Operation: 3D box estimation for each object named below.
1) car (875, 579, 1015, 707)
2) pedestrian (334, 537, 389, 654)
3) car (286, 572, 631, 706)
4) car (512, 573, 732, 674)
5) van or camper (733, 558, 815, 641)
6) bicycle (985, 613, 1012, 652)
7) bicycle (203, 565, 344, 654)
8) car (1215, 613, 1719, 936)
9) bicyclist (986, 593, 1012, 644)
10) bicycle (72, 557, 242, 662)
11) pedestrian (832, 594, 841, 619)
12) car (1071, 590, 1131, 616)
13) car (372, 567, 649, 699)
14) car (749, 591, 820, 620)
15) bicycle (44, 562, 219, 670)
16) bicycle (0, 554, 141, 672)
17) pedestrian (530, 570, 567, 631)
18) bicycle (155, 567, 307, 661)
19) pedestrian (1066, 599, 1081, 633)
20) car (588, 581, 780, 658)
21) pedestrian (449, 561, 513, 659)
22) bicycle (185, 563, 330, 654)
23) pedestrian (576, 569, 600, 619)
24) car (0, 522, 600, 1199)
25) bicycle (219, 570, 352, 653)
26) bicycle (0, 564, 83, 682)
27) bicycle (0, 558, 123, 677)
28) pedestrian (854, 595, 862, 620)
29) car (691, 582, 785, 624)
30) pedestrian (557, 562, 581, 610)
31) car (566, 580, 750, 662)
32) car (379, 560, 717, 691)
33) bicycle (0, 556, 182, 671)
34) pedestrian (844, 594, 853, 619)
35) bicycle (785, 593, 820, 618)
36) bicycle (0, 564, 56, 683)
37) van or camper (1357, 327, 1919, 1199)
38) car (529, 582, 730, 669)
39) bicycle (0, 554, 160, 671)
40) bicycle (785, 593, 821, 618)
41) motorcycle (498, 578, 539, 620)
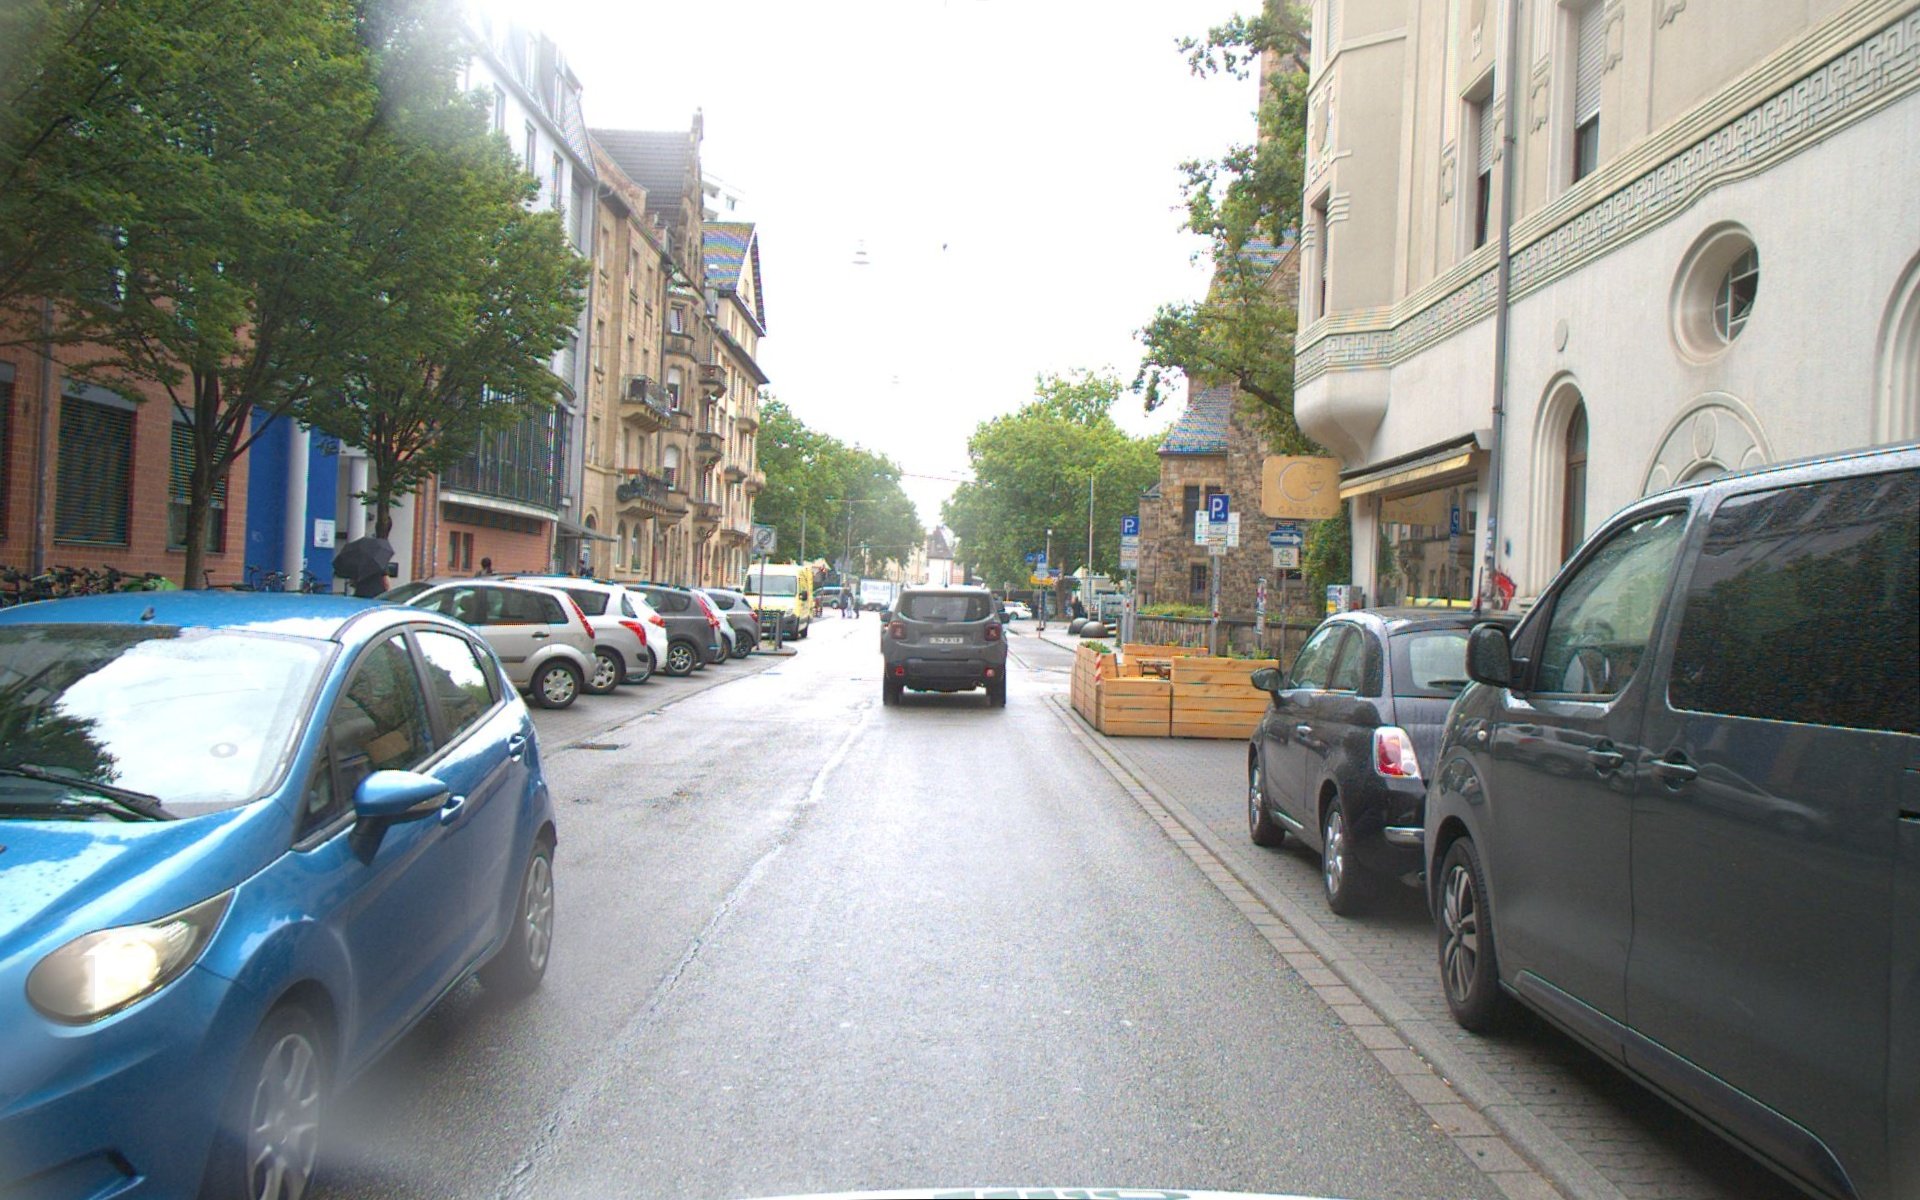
[{"bbox_3d":[-0.260,0.592,24.819,1.860,1.700,4.504,2,0,-2],"label":"car"},{"bbox_3d":[-9.130,-0.061,25.257,0.599,1.737,0.433,2,-2,0],"label":"pedestrian"},{"bbox_3d":[-6.037,0.454,20.066,3.672,1.477,1.664,1,0,-36],"label":"car"},{"bbox_3d":[-5.869,0.415,28.740,3.342,1.569,1.663,3,-1,-32],"label":"car"},{"bbox_3d":[-6.296,0.078,56.729,2.078,2.575,6.872,-1,-2,-1],"label":"van or camper"},{"bbox_3d":[1.105,0.934,47.729,0.690,1.072,1.812,1,0,0],"label":"bicycle"},{"bbox_3d":[-10.810,0.152,26.067,1.859,1.172,0.553,7,-1,-3],"label":"bicycle"},{"bbox_3d":[2.628,0.821,9.478,1.675,1.425,3.704,1,0,-1],"label":"car"},{"bbox_3d":[1.118,0.533,47.732,0.690,1.428,1.171,1,0,0],"label":"bicyclist"},{"bbox_3d":[-10.724,0.129,22.117,1.859,1.172,0.553,7,-1,-3],"label":"bicycle"},{"bbox_3d":[-7.876,0.402,105.555,0.458,1.613,0.659,2,0,-2],"label":"pedestrian"},{"bbox_3d":[13.889,0.257,162.820,5.781,2.375,2.060,1,0,3],"label":"car"},{"bbox_3d":[-6.173,0.441,22.780,3.345,1.683,1.615,1,0,-34],"label":"car"},{"bbox_3d":[-9.644,0.287,90.898,3.383,1.339,1.758,4,-1,-34],"label":"car"},{"bbox_3d":[-10.749,0.203,21.491,1.859,1.172,0.553,7,-1,-3],"label":"bicycle"},{"bbox_3d":[-10.596,0.128,19.098,1.859,1.172,0.553,7,-1,-3],"label":"bicycle"},{"bbox_3d":[-11.223,0.012,45.084,0.694,1.578,0.608,4,0,6],"label":"pedestrian"},{"bbox_3d":[-10.731,0.205,24.365,1.859,1.172,0.553,7,-1,-3],"label":"bicycle"},{"bbox_3d":[5.960,0.849,86.896,0.676,1.741,0.684,1,0,0],"label":"pedestrian"},{"bbox_3d":[-6.175,0.437,37.069,3.780,1.533,1.968,3,-1,-31],"label":"car"},{"bbox_3d":[-9.037,0.187,31.254,0.808,1.782,0.757,4,0,6],"label":"pedestrian"},{"bbox_3d":[-10.754,0.130,25.356,1.859,1.172,0.553,7,-1,-3],"label":"bicycle"},{"bbox_3d":[-13.395,-0.223,59.548,0.652,1.788,0.791,1,0,-24],"label":"pedestrian"},{"bbox_3d":[-2.282,0.597,4.845,1.636,1.491,4.002,2,0,-2],"label":"car"},{"bbox_3d":[-11.267,0.188,27.660,1.859,1.172,0.553,7,-1,-3],"label":"bicycle"},{"bbox_3d":[-10.554,0.181,17.740,1.859,1.172,0.553,7,-1,-3],"label":"bicycle"},{"bbox_3d":[-10.538,0.160,18.564,1.859,1.172,0.553,7,-1,-3],"label":"bicycle"},{"bbox_3d":[-6.571,0.491,106.671,0.458,1.613,0.752,2,0,-2],"label":"pedestrian"},{"bbox_3d":[-9.729,0.150,72.435,3.625,1.586,1.776,4,-1,-37],"label":"car"},{"bbox_3d":[-14.005,-0.501,59.260,0.652,1.704,0.791,1,0,-24],"label":"pedestrian"},{"bbox_3d":[-6.253,0.436,34.283,3.341,1.533,1.663,3,-1,-31],"label":"car"},{"bbox_3d":[-6.317,0.412,25.492,4.470,1.566,2.311,7,-3,-34],"label":"car"},{"bbox_3d":[-10.594,0.163,20.129,1.859,1.172,0.553,7,-1,-3],"label":"bicycle"},{"bbox_3d":[-7.153,0.428,106.153,0.458,1.613,0.752,2,0,-2],"label":"pedestrian"},{"bbox_3d":[-9.671,0.337,101.308,2.062,1.469,0.487,1,0,-21],"label":"bicycle"},{"bbox_3d":[-10.564,0.163,17.209,1.859,1.172,0.553,7,-1,-3],"label":"bicycle"},{"bbox_3d":[2.636,0.501,4.142,1.980,1.924,5.054,1,0,-1],"label":"van or camper"},{"bbox_3d":[-6.293,0.489,31.594,3.346,1.483,1.661,3,-1,-34],"label":"car"},{"bbox_3d":[-10.643,0.145,19.655,1.859,1.172,0.553,7,-1,-3],"label":"bicycle"},{"bbox_3d":[-9.523,0.309,100.318,2.079,1.469,0.536,1,0,-21],"label":"bicycle"},{"bbox_3d":[-13.452,-0.046,50.436,0.739,1.194,2.114,5,0,-4],"label":"motorcycle"}]
